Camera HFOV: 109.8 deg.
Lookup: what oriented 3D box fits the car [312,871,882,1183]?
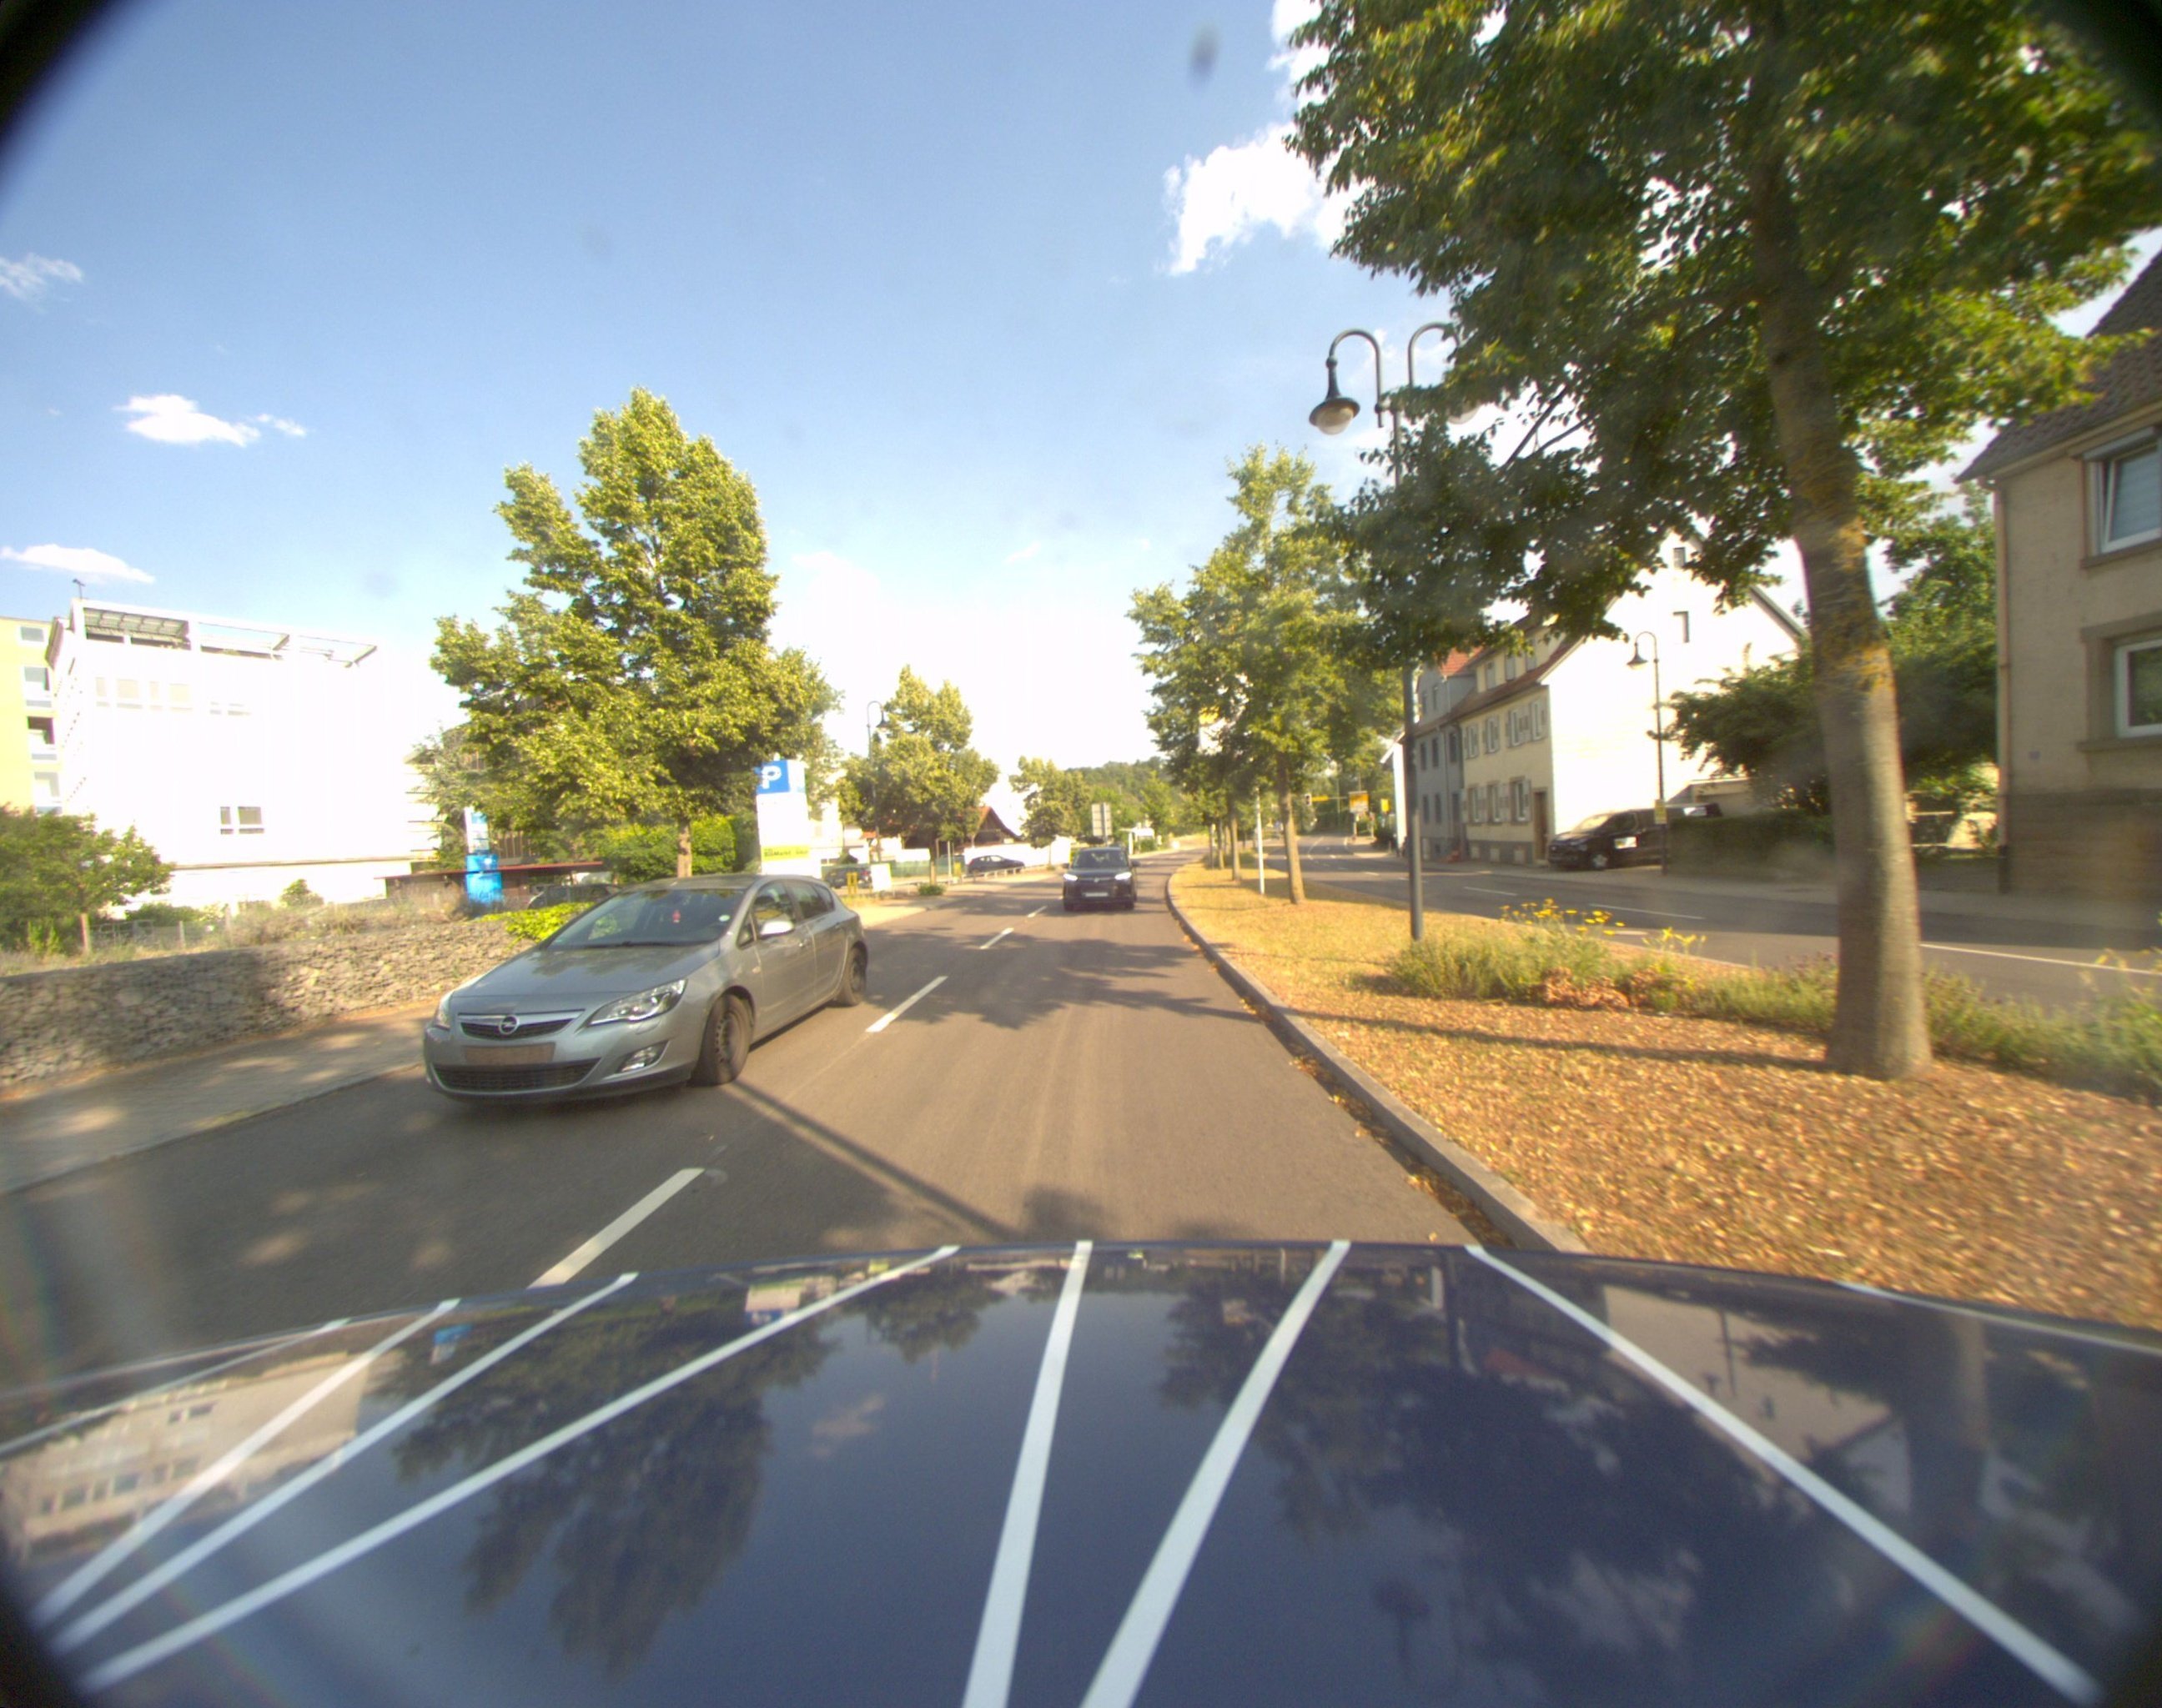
[{"bbox_3d":[-3.228,1.009,6.319,1.725,1.481,4.307,-4,1,3],"label":"car"}]

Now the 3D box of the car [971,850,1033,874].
[{"bbox_3d":[-5.472,0.536,52.742,3.832,1.412,1.939,-3,1,10],"label":"car"}]

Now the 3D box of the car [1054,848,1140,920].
[{"bbox_3d":[0.533,0.695,19.886,1.724,1.605,4.263,-2,1,8],"label":"car"}]

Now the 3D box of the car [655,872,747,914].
[{"bbox_3d":[-15.192,1.528,30.539,1.614,1.391,3.268,-3,1,9],"label":"car"}]

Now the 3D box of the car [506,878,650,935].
[{"bbox_3d":[-16.552,1.684,25.264,1.656,1.454,3.868,-3,1,11],"label":"car"}]

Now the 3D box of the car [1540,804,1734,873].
[{"bbox_3d":[18.682,-0.510,25.771,4.833,1.866,2.001,-5,1,9],"label":"car"}]

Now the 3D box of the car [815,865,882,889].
[{"bbox_3d":[-16.369,1.602,53.600,3.994,1.412,1.939,-3,1,10],"label":"car"}]
